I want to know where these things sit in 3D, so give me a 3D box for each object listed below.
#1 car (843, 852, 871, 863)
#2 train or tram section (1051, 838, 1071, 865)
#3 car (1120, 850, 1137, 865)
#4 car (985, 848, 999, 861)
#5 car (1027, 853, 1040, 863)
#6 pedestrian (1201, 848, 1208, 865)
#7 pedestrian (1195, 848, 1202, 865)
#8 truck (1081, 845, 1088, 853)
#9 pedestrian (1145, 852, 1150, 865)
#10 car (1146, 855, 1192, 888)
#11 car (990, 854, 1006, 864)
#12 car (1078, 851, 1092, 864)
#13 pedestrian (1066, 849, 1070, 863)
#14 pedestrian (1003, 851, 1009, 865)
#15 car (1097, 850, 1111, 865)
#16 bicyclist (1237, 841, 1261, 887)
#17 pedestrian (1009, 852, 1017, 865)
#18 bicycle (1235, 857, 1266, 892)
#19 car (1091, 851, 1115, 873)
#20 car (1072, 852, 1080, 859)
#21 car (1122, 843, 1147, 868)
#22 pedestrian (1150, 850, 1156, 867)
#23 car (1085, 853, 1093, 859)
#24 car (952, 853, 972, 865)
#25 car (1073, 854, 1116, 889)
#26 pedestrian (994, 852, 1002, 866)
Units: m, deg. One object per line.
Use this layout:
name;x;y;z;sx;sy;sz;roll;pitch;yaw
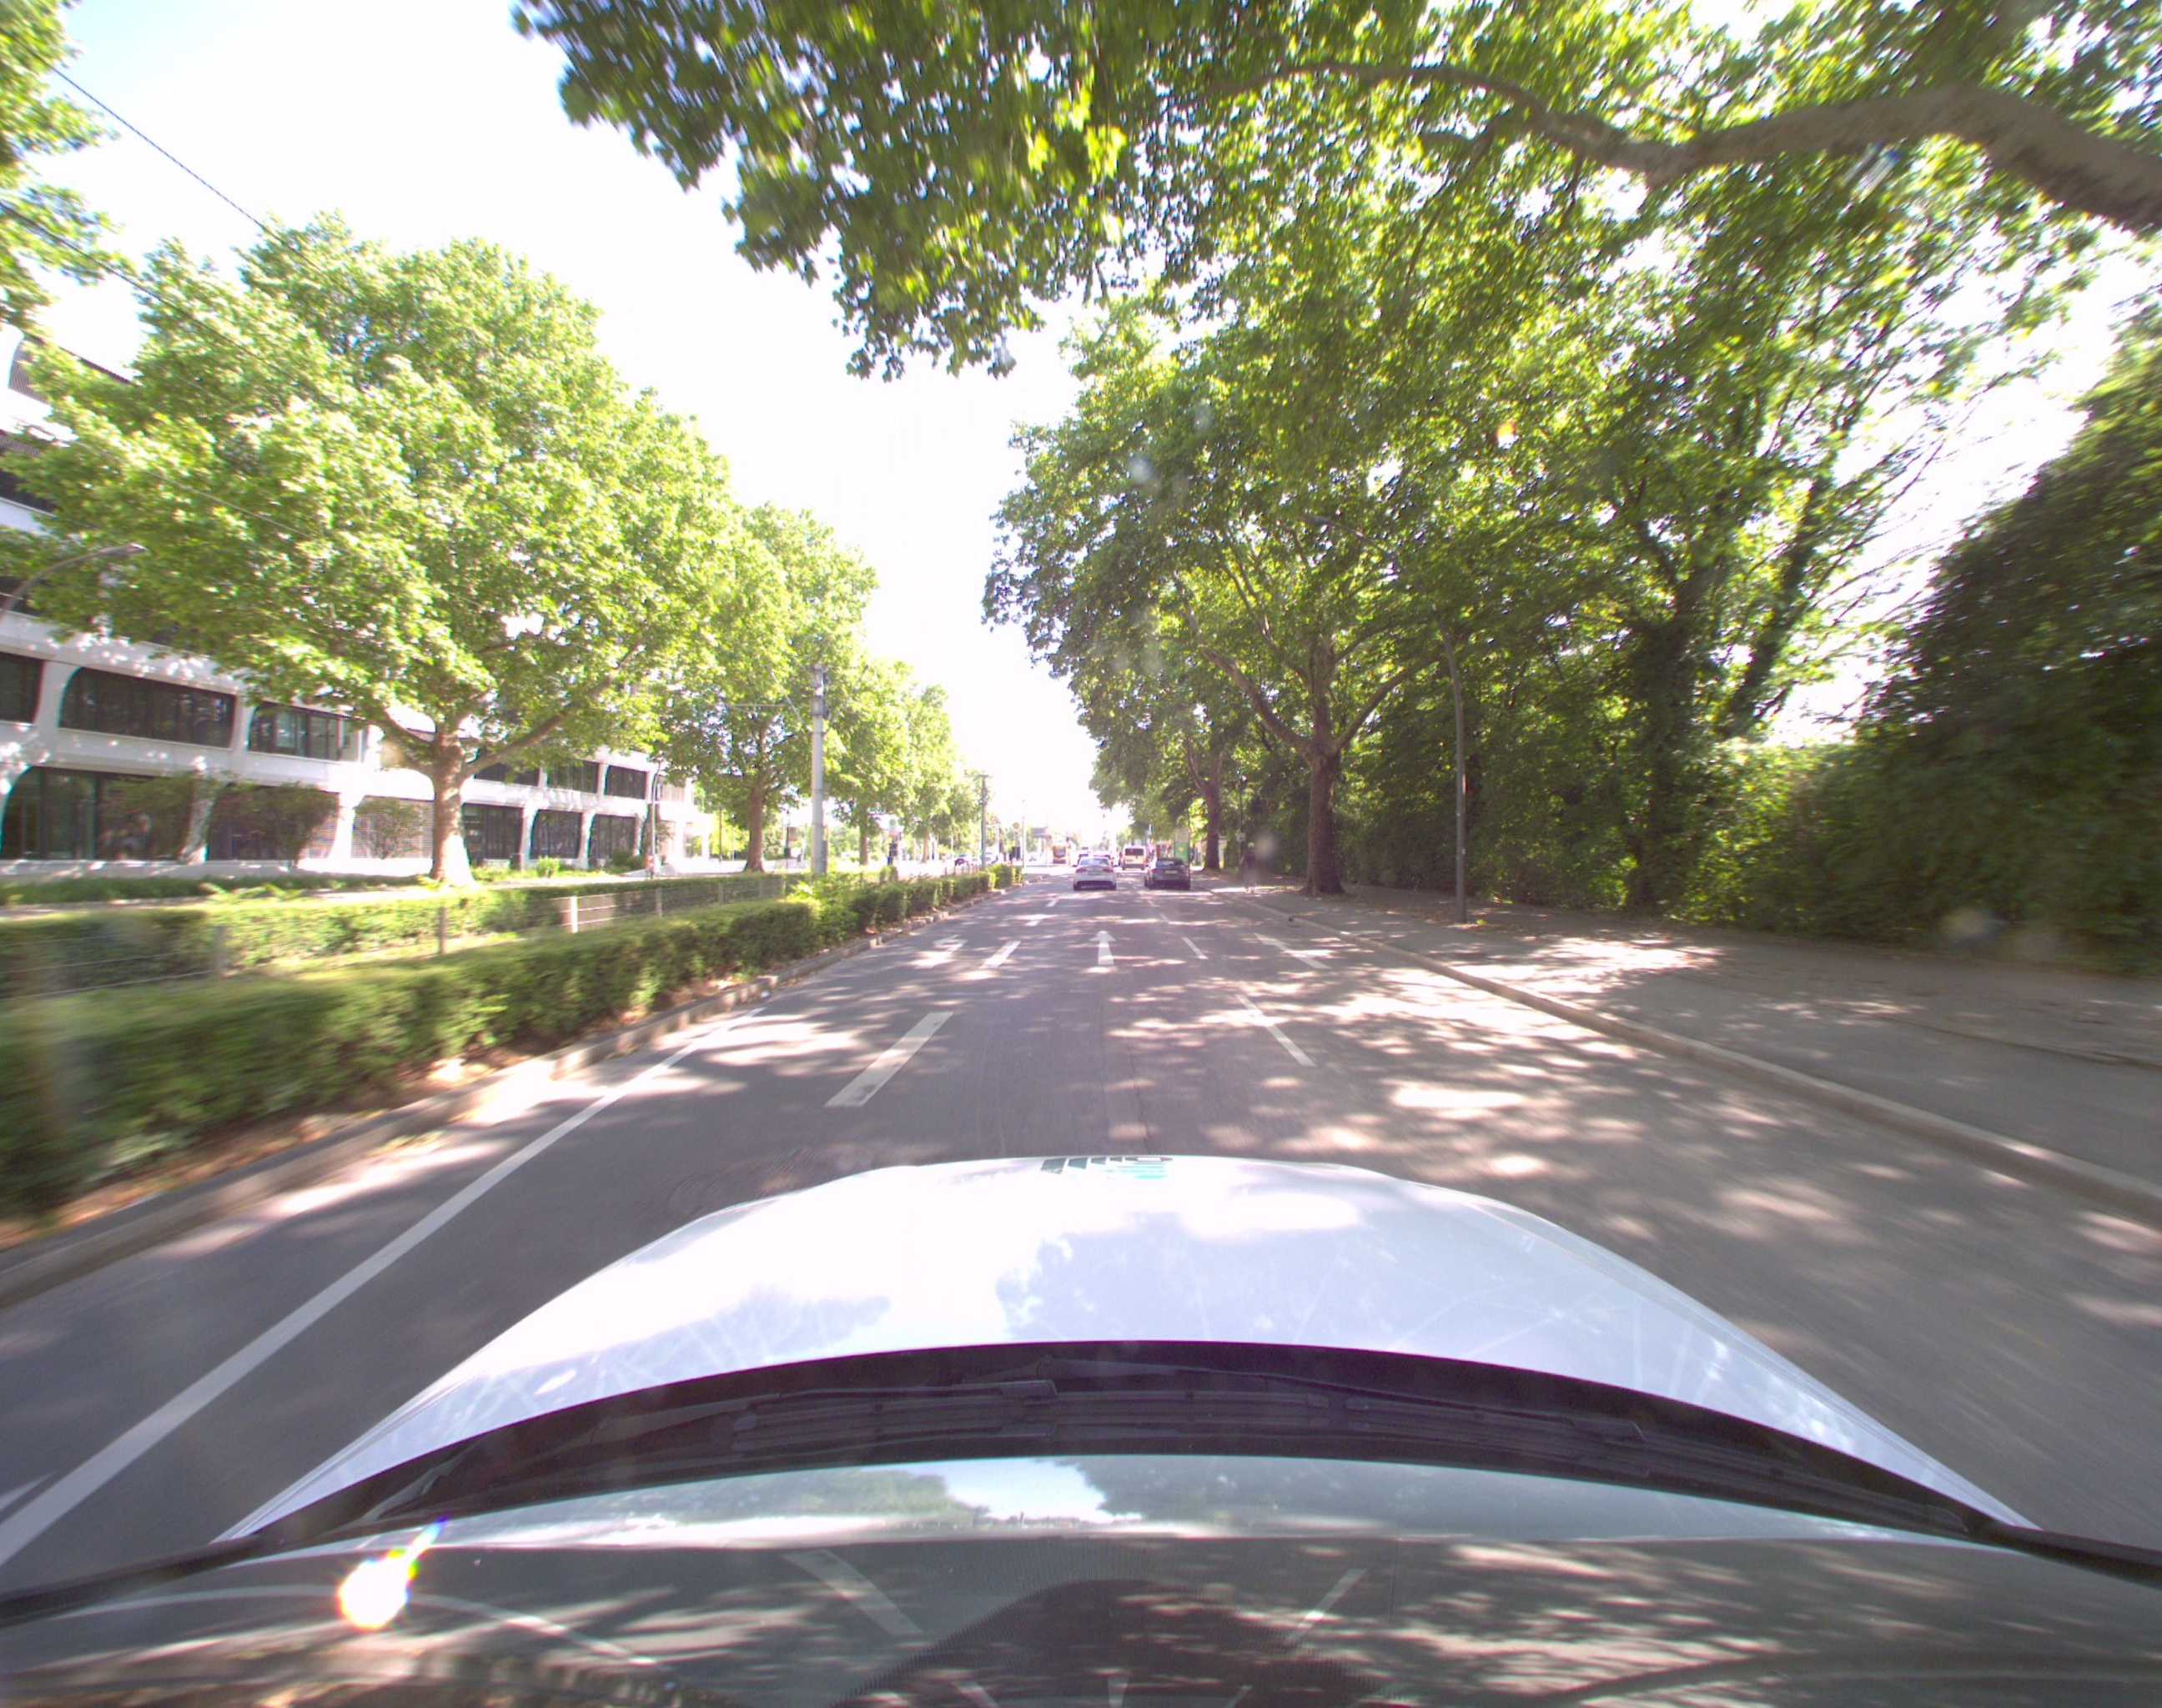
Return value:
car;-34.303;0.527;124.853;3.833;1.549;1.770;0;0;2
train or tram section;-3.032;-0.402;125.279;2.606;4.015;7.753;0;0;2
car;6.271;0.476;107.510;2.064;1.999;4.060;0;0;2
car;-17.310;0.066;158.115;2.106;2.383;4.002;0;0;2
car;-8.872;0.726;153.415;1.986;1.734;4.002;0;0;2
pedestrian;14.087;0.282;92.786;0.611;1.896;0.597;0;0;-1
pedestrian;13.413;0.287;92.847;0.611;1.896;0.694;0;0;-1
truck;1.241;-1.620;263.622;1.986;2.790;8.523;0;0;2
pedestrian;8.431;0.559;103.576;0.600;1.694;0.954;-2;0;2
car;3.908;0.750;36.750;1.776;1.420;4.002;0;0;2
car;-12.141;0.716;119.273;1.804;1.563;4.306;0;0;2
car;0.553;0.481;106.403;1.723;1.631;4.002;0;0;2
pedestrian;-1.804;0.287;113.678;0.621;1.918;0.690;0;0;2
pedestrian;-8.951;0.427;97.132;0.590;1.646;0.554;0;0;2
car;3.045;0.448;106.704;1.723;1.901;4.002;0;0;2
bicyclist;6.318;0.364;30.621;0.632;1.648;0.979;-3;1;1
pedestrian;-8.676;0.557;103.733;0.769;1.734;0.756;0;0;10
bicycle;6.348;0.759;30.677;0.712;1.148;2.179;-3;2;1
car;1.690;0.593;60.951;1.723;1.605;3.887;0;0;2
car;-1.228;0.423;210.443;1.862;1.609;4.005;0;0;4
car;4.945;0.130;75.709;2.221;2.212;4.164;0;0;2
pedestrian;8.291;0.478;94.277;0.633;1.946;0.719;0;0;2
car;2.162;0.444;210.340;1.862;1.609;4.005;0;0;4
car;-16.280;0.615;111.823;1.823;1.624;4.898;0;0;2
car;0.615;0.727;35.155;1.778;1.420;3.887;0;0;2
pedestrian;-9.510;0.532;93.209;0.760;1.623;0.590;0;0;-24
